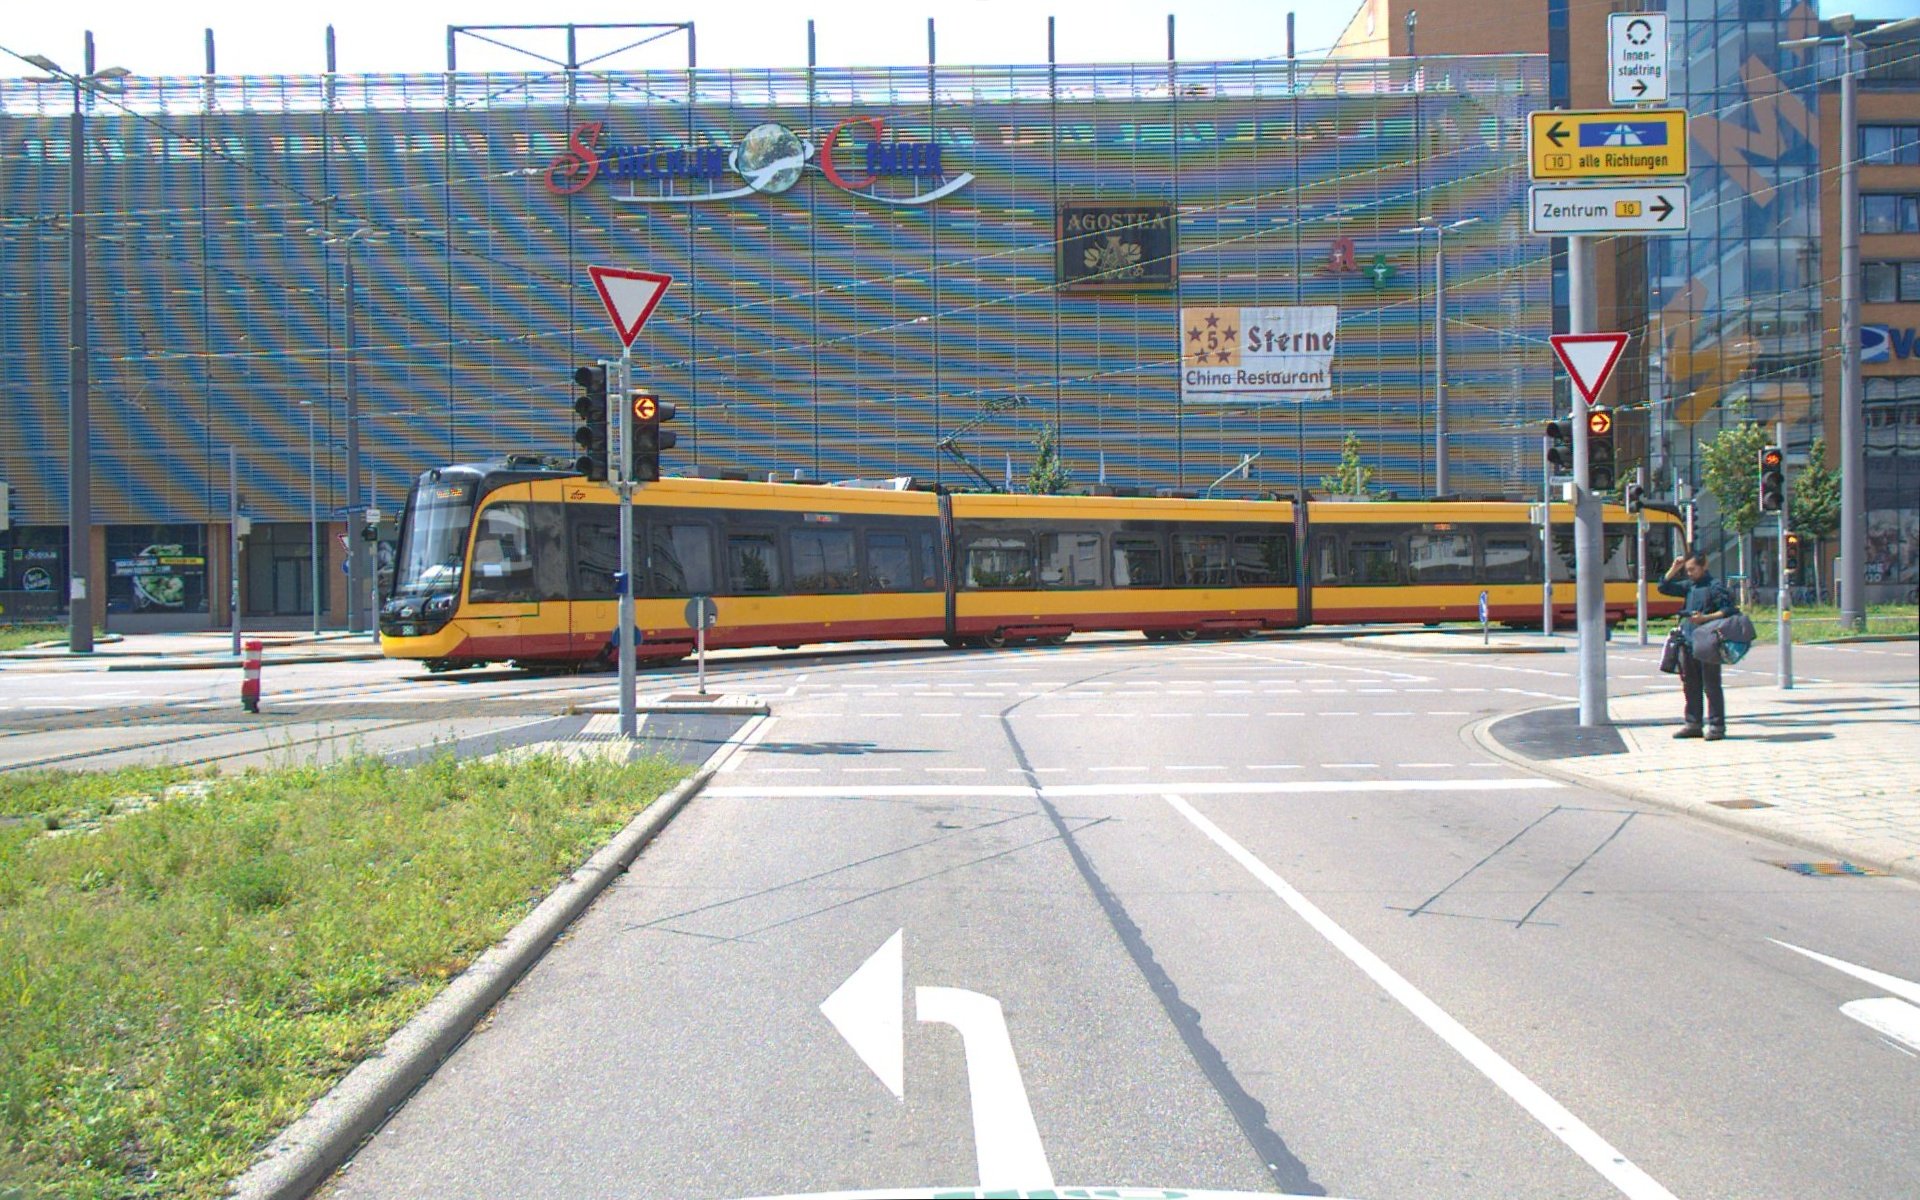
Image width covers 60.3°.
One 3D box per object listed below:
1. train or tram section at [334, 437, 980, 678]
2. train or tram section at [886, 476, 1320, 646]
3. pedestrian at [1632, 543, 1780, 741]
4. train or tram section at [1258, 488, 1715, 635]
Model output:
[{"bbox_3d":[-4.928,-0.740,31.466,3.165,3.662,13.439,0,1,38],"label":"train or tram section"},{"bbox_3d":[3.651,-0.893,39.856,10.850,3.666,3.032,0,1,-32],"label":"train or tram section"},{"bbox_3d":[6.857,0.373,15.220,0.797,1.732,0.910,-2,0,-29],"label":"pedestrian"},{"bbox_3d":[14.314,-1.011,44.805,12.397,3.684,3.050,0,1,-18],"label":"train or tram section"}]
